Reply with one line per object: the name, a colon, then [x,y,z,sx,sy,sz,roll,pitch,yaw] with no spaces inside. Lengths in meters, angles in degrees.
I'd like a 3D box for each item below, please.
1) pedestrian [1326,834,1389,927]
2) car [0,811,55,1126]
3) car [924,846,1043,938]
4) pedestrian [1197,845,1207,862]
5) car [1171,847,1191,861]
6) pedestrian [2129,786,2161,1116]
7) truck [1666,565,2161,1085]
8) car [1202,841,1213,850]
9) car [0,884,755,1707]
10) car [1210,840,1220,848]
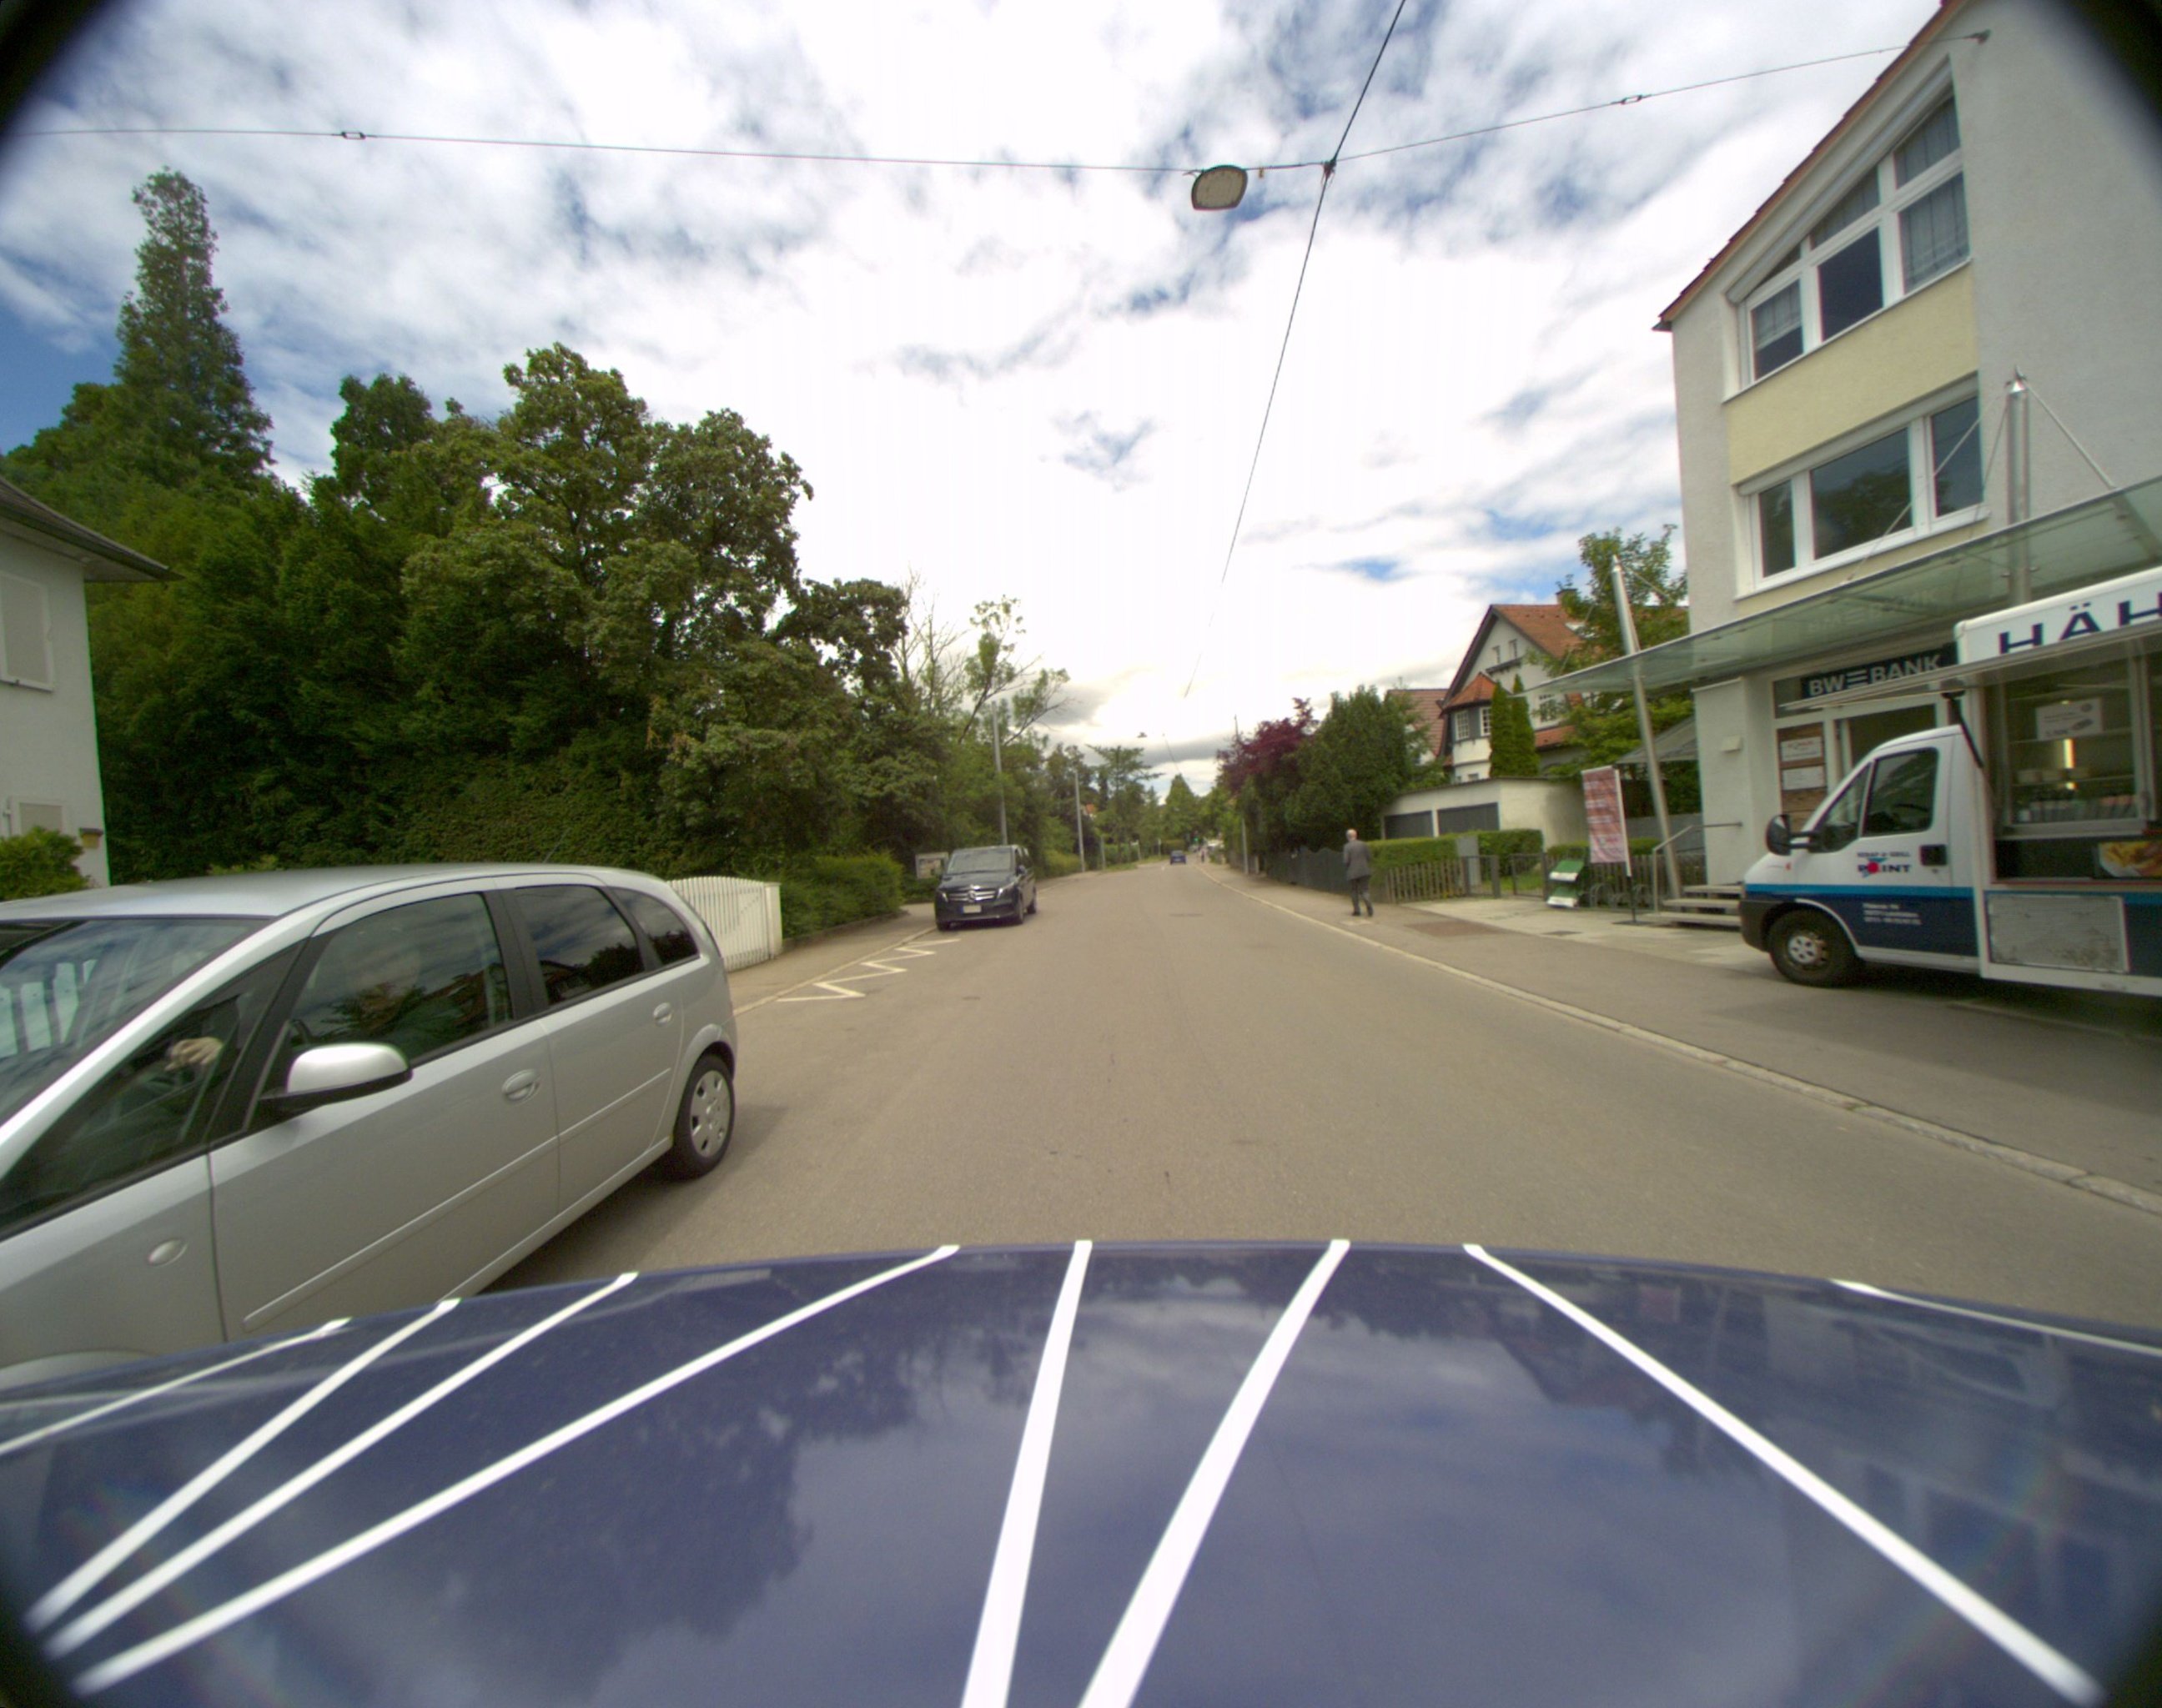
pedestrian: [5.349,0.488,14.762,0.724,1.677,1.109,-6,2,3]
car: [-10.084,1.060,3.972,2.505,2.666,5.182,-6,1,-9]
car: [-2.193,0.786,18.677,1.913,1.837,5.158,-4,0,3]
pedestrian: [12.596,-0.077,79.046,0.821,1.734,0.604,-6,1,9]
car: [11.044,-0.042,83.675,1.696,1.423,3.930,-3,0,13]
pedestrian: [5.678,0.488,3.629,0.402,1.685,0.597,-6,1,-2]
truck: [7.100,-0.217,4.055,2.479,2.824,6.705,-4,0,-2]
car: [23.105,-1.573,138.977,1.844,1.646,4.139,-1,1,6]
car: [-2.721,0.999,2.233,1.764,1.573,4.018,-2,0,-1]
car: [31.070,-2.260,176.806,1.997,1.686,4.002,-6,1,8]
